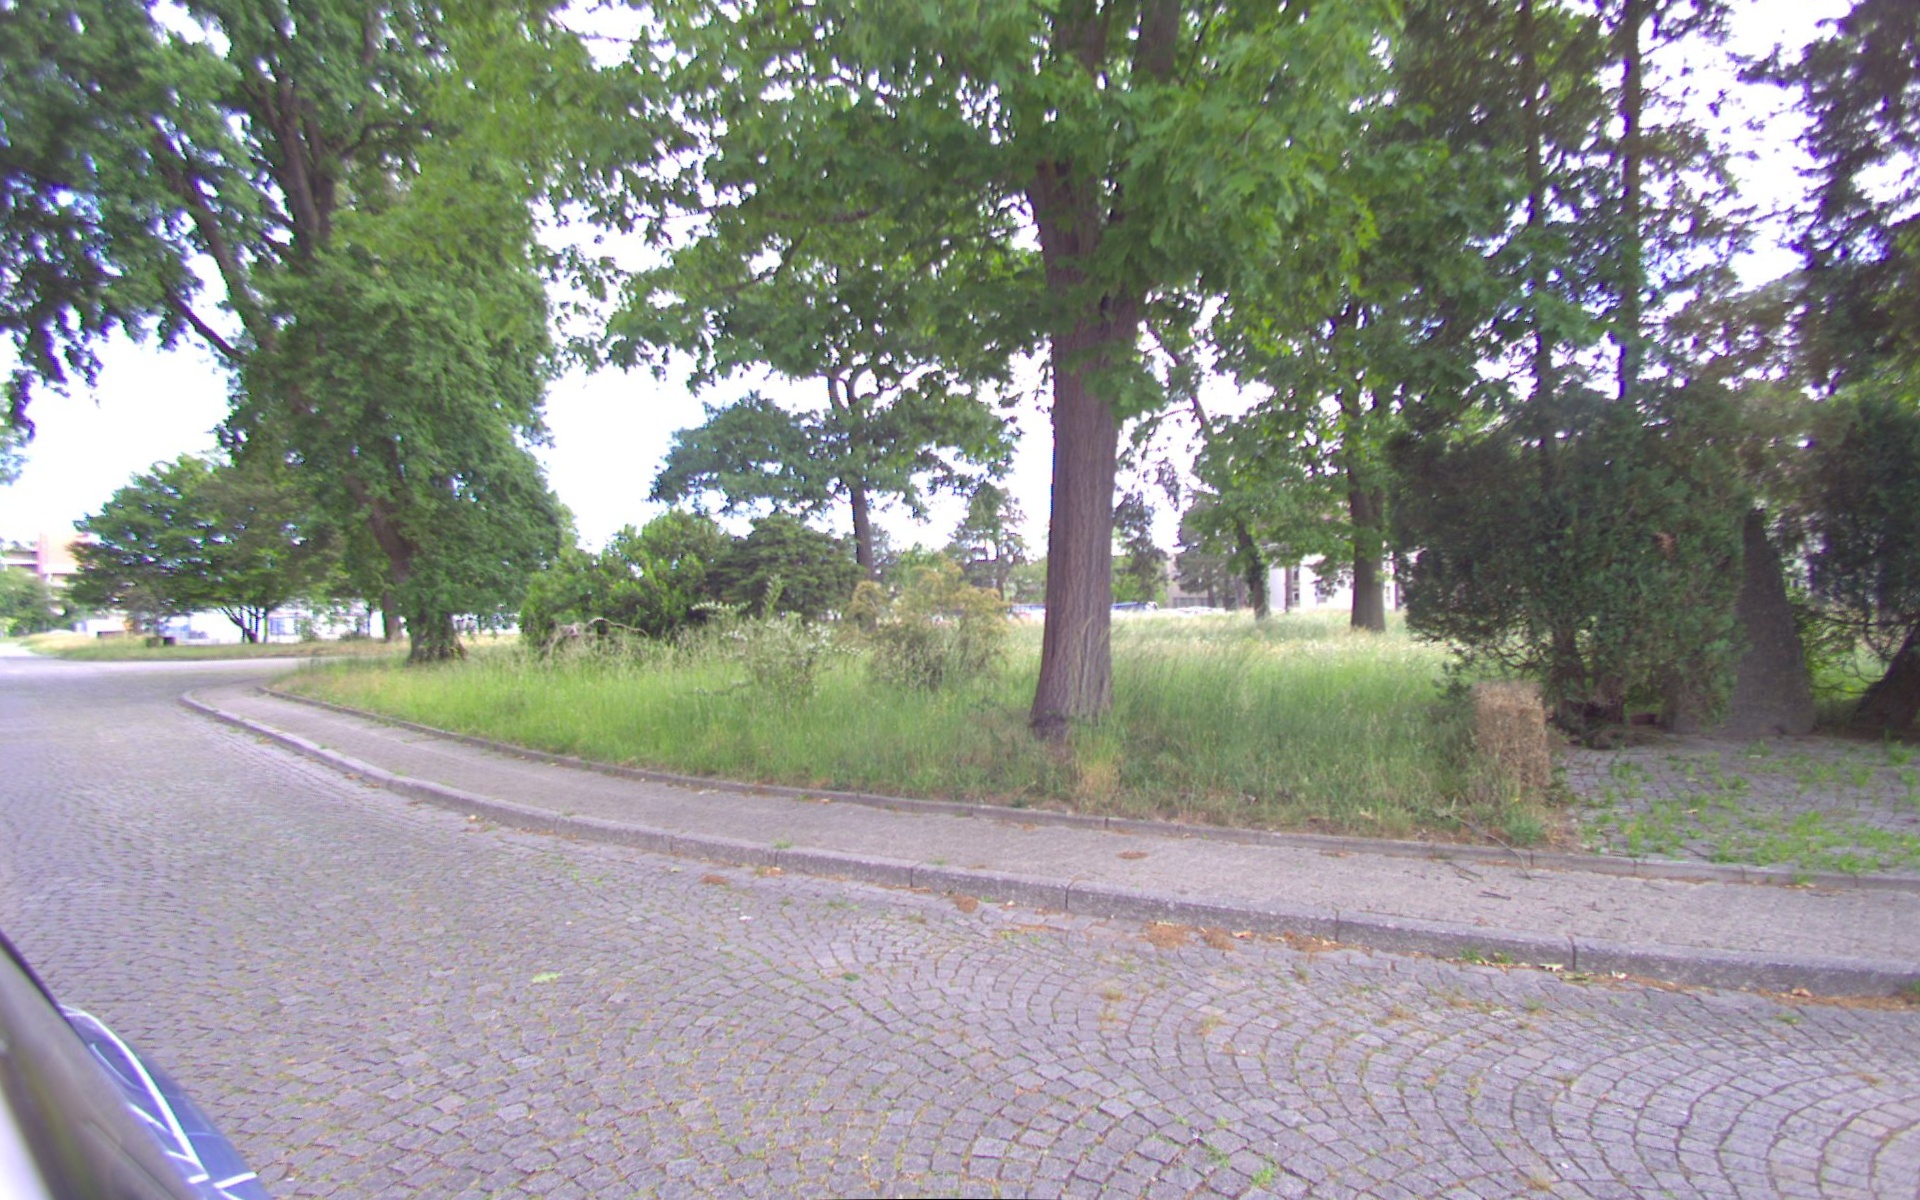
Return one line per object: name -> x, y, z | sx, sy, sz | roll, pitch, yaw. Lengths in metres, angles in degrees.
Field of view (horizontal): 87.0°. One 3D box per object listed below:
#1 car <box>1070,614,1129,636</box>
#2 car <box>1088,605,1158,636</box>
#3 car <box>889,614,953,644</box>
car -> 9.392, 1.693, 68.244 | 3.696, 1.349, 1.561 | -4, -3, 45
car -> 11.239, 1.419, 69.908 | 4.547, 1.916, 1.767 | -4, -3, 45
car -> -2.178, 1.616, 56.537 | 3.501, 1.493, 1.579 | -4, -3, 45
